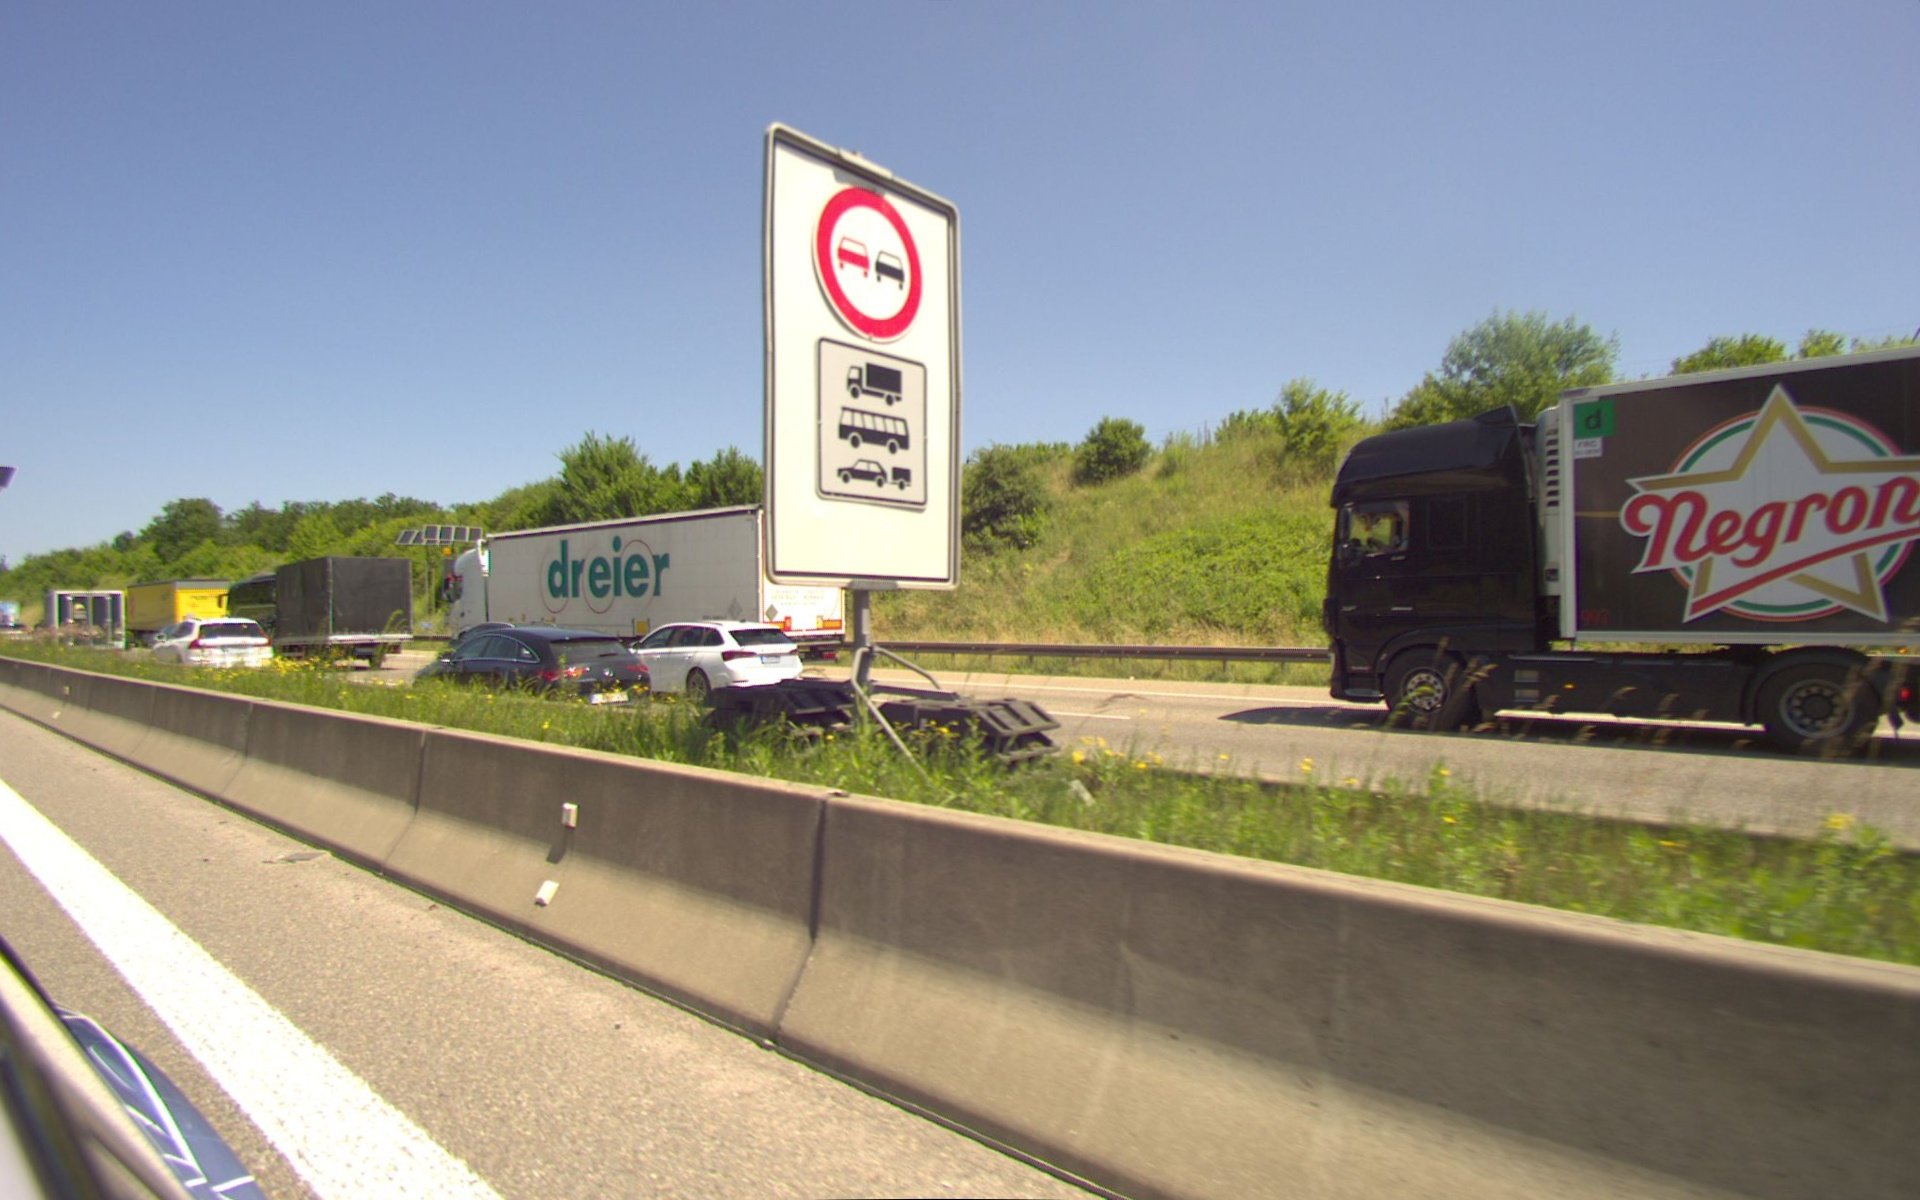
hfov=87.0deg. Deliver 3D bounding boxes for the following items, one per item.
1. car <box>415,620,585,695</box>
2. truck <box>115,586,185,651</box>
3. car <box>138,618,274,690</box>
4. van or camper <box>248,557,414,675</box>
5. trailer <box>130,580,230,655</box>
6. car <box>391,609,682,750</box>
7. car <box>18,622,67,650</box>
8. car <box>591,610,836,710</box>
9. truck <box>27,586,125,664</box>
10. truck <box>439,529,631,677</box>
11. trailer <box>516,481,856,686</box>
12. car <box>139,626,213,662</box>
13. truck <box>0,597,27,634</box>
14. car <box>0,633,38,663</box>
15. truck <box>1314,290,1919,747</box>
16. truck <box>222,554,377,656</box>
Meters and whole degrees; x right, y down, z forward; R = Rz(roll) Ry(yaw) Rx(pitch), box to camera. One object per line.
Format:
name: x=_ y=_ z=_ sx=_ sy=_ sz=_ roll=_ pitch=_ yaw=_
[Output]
car: x=-10.843 y=1.264 z=23.690 sx=4.827 sy=1.548 sz=1.793 roll=-1 pitch=0 yaw=41
truck: x=-53.464 y=1.193 z=66.736 sx=6.130 sy=4.095 sz=2.575 roll=-1 pitch=0 yaw=41
car: x=-19.363 y=1.308 z=25.891 sx=5.028 sy=1.646 sz=1.793 roll=-1 pitch=0 yaw=41
van or camper: x=-20.387 y=0.503 z=32.565 sx=7.942 sy=3.385 sz=2.502 roll=-1 pitch=0 yaw=43
trailer: x=-47.617 y=1.044 z=61.599 sx=11.850 sy=4.175 sz=2.622 roll=-1 pitch=0 yaw=41
car: x=-6.167 y=0.989 z=14.395 sx=5.028 sy=1.646 sz=1.793 roll=-1 pitch=0 yaw=41
car: x=-62.762 y=2.420 z=69.160 sx=5.899 sy=1.765 sz=1.843 roll=-1 pitch=0 yaw=41
car: x=-4.601 y=0.992 z=18.374 sx=4.996 sy=1.555 sz=1.793 roll=-1 pitch=0 yaw=41
truck: x=-34.928 y=0.950 z=39.915 sx=6.209 sy=2.863 sz=2.098 roll=-1 pitch=0 yaw=41
truck: x=-13.439 y=0.134 z=31.700 sx=7.026 sy=4.145 sz=2.752 roll=-1 pitch=-2 yaw=41
trailer: x=-7.637 y=-0.256 z=26.444 sx=11.708 sy=4.338 sz=2.751 roll=-1 pitch=-2 yaw=43
car: x=-35.572 y=1.950 z=45.872 sx=4.758 sy=1.560 sz=1.757 roll=-1 pitch=-2 yaw=41
truck: x=-103.697 y=1.662 z=109.877 sx=8.951 sy=3.927 sz=2.598 roll=-1 pitch=0 yaw=41
car: x=-52.121 y=2.614 z=55.473 sx=5.028 sy=1.524 sz=1.793 roll=-1 pitch=0 yaw=41
truck: x=8.254 y=-0.726 z=12.183 sx=7.026 sy=4.338 sz=2.752 roll=-1 pitch=-2 yaw=41
truck: x=-30.977 y=0.255 z=47.144 sx=11.481 sy=4.253 sz=3.024 roll=-1 pitch=0 yaw=41
